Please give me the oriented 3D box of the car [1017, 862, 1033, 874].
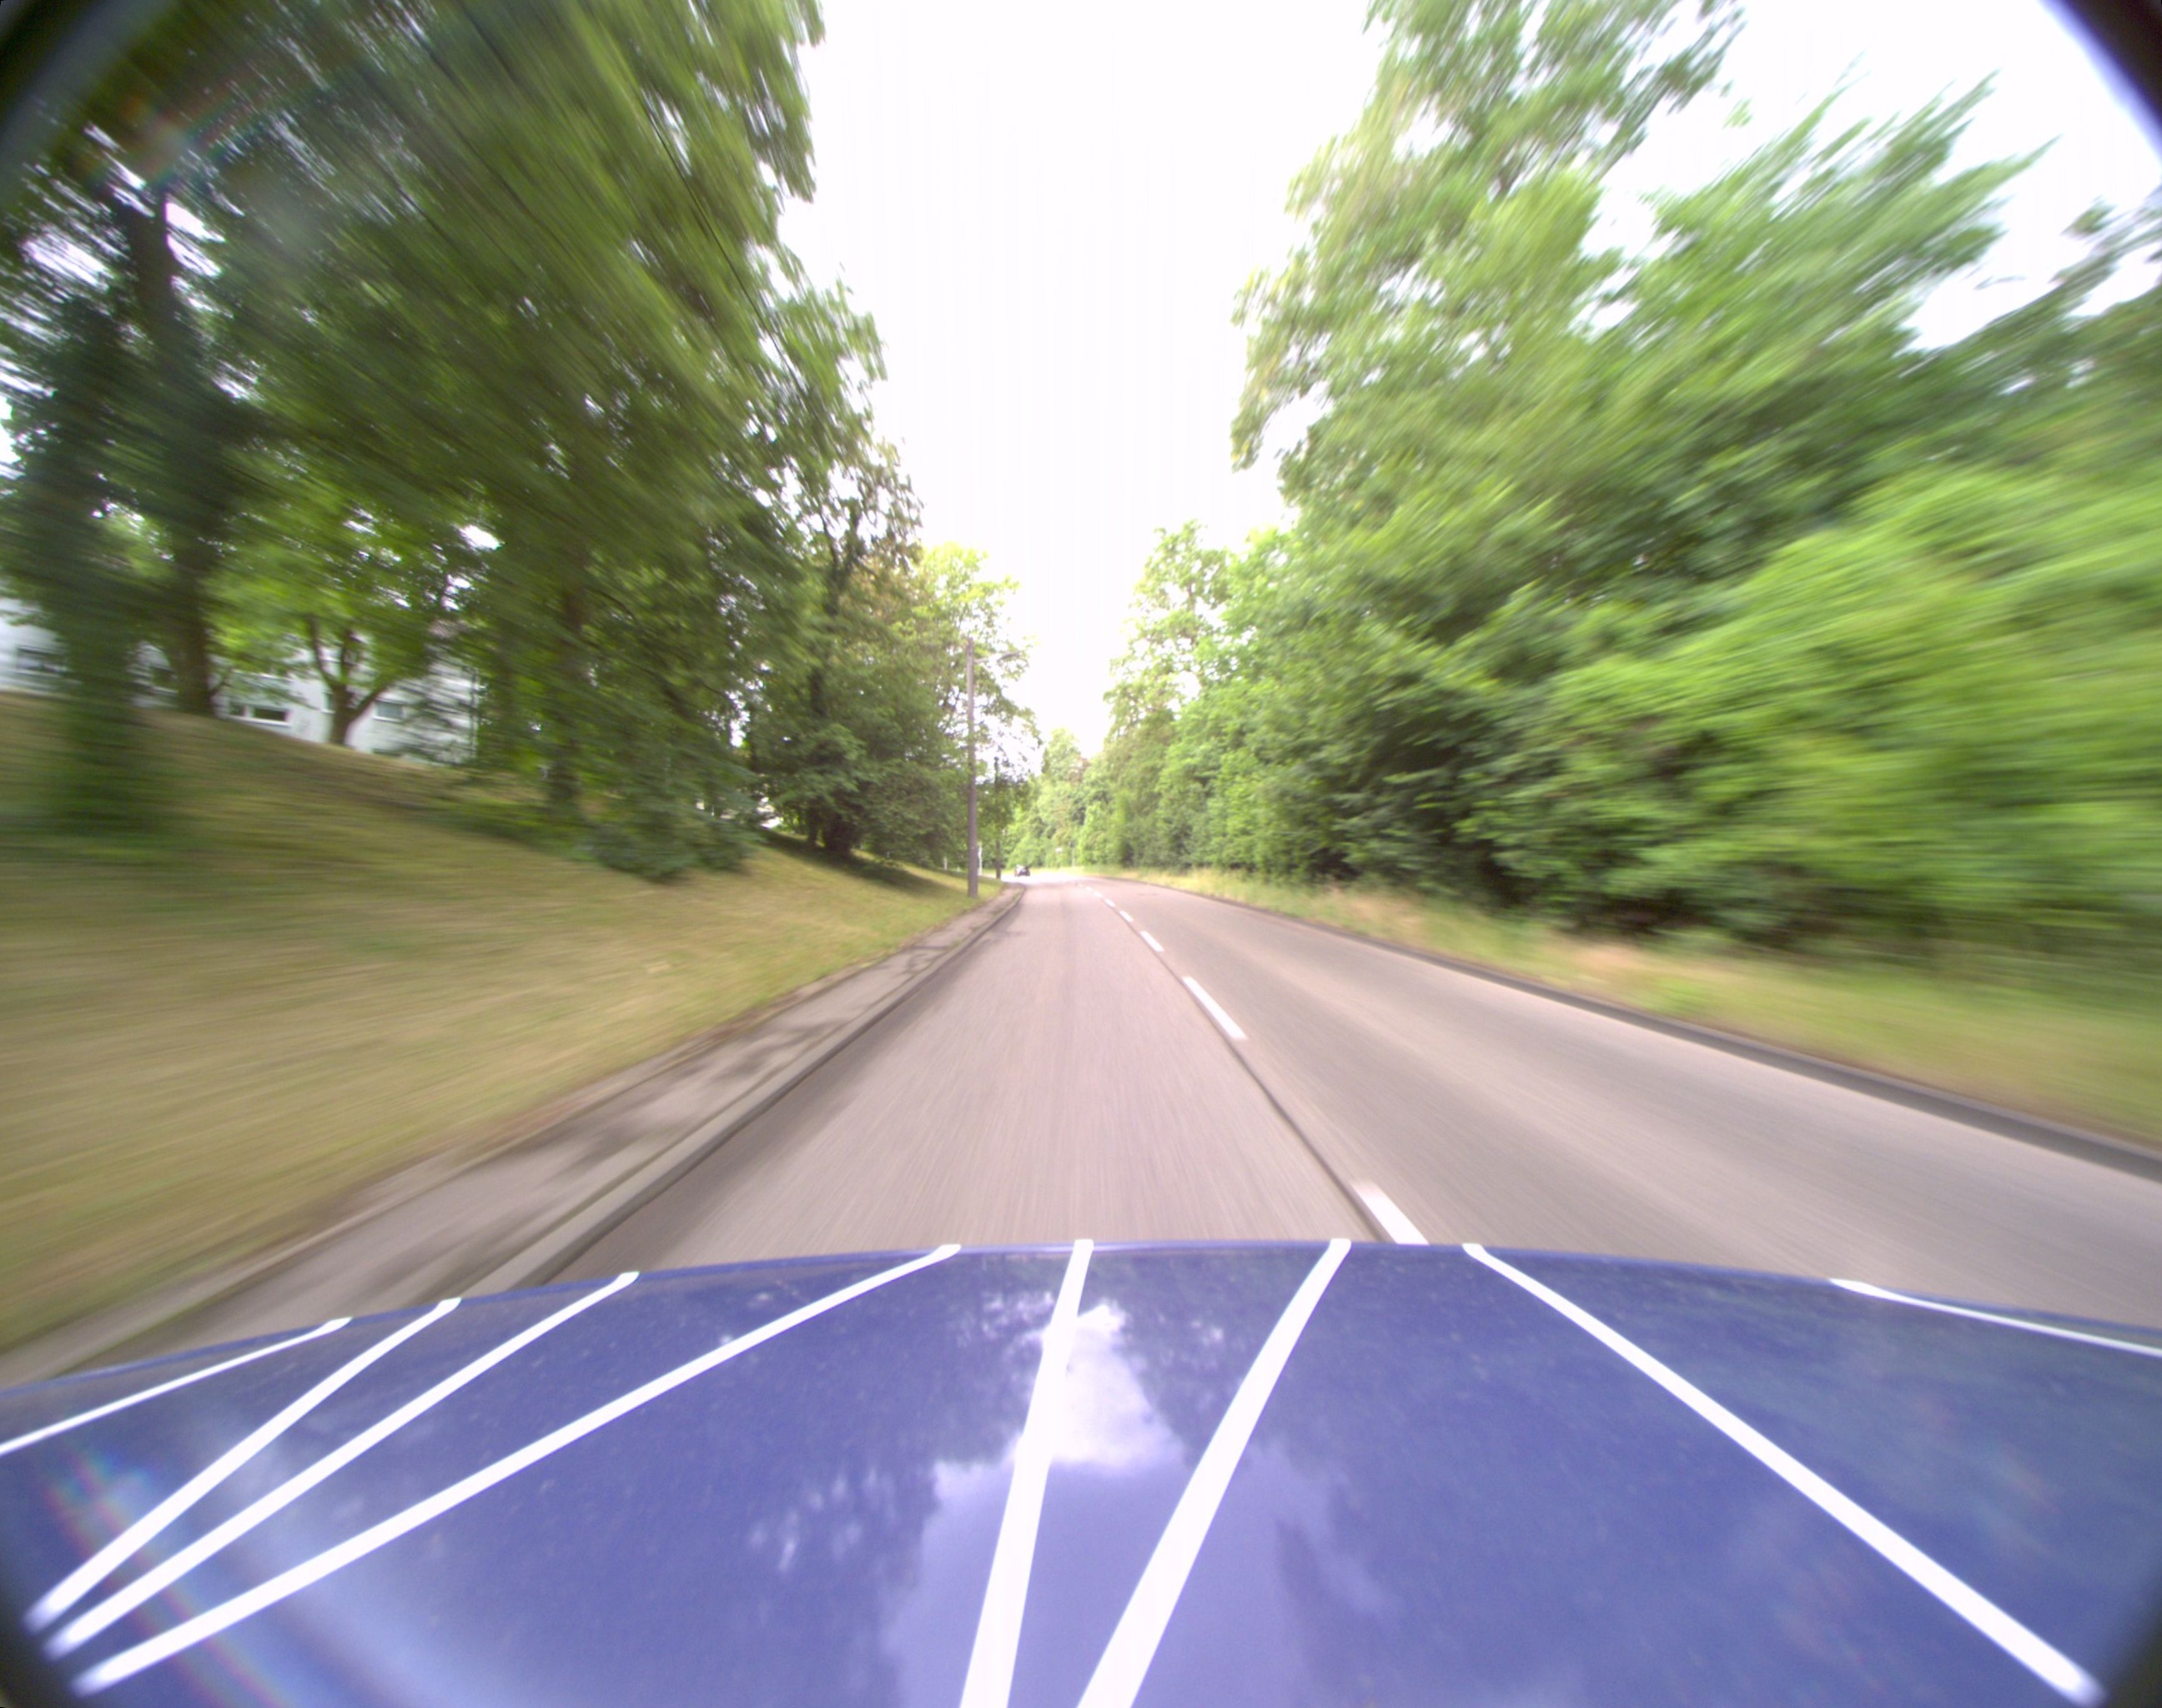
[{"bbox_3d":[-7.150,1.745,96.025,1.668,1.485,3.312,-1,-1,-10],"label":"car"}]
